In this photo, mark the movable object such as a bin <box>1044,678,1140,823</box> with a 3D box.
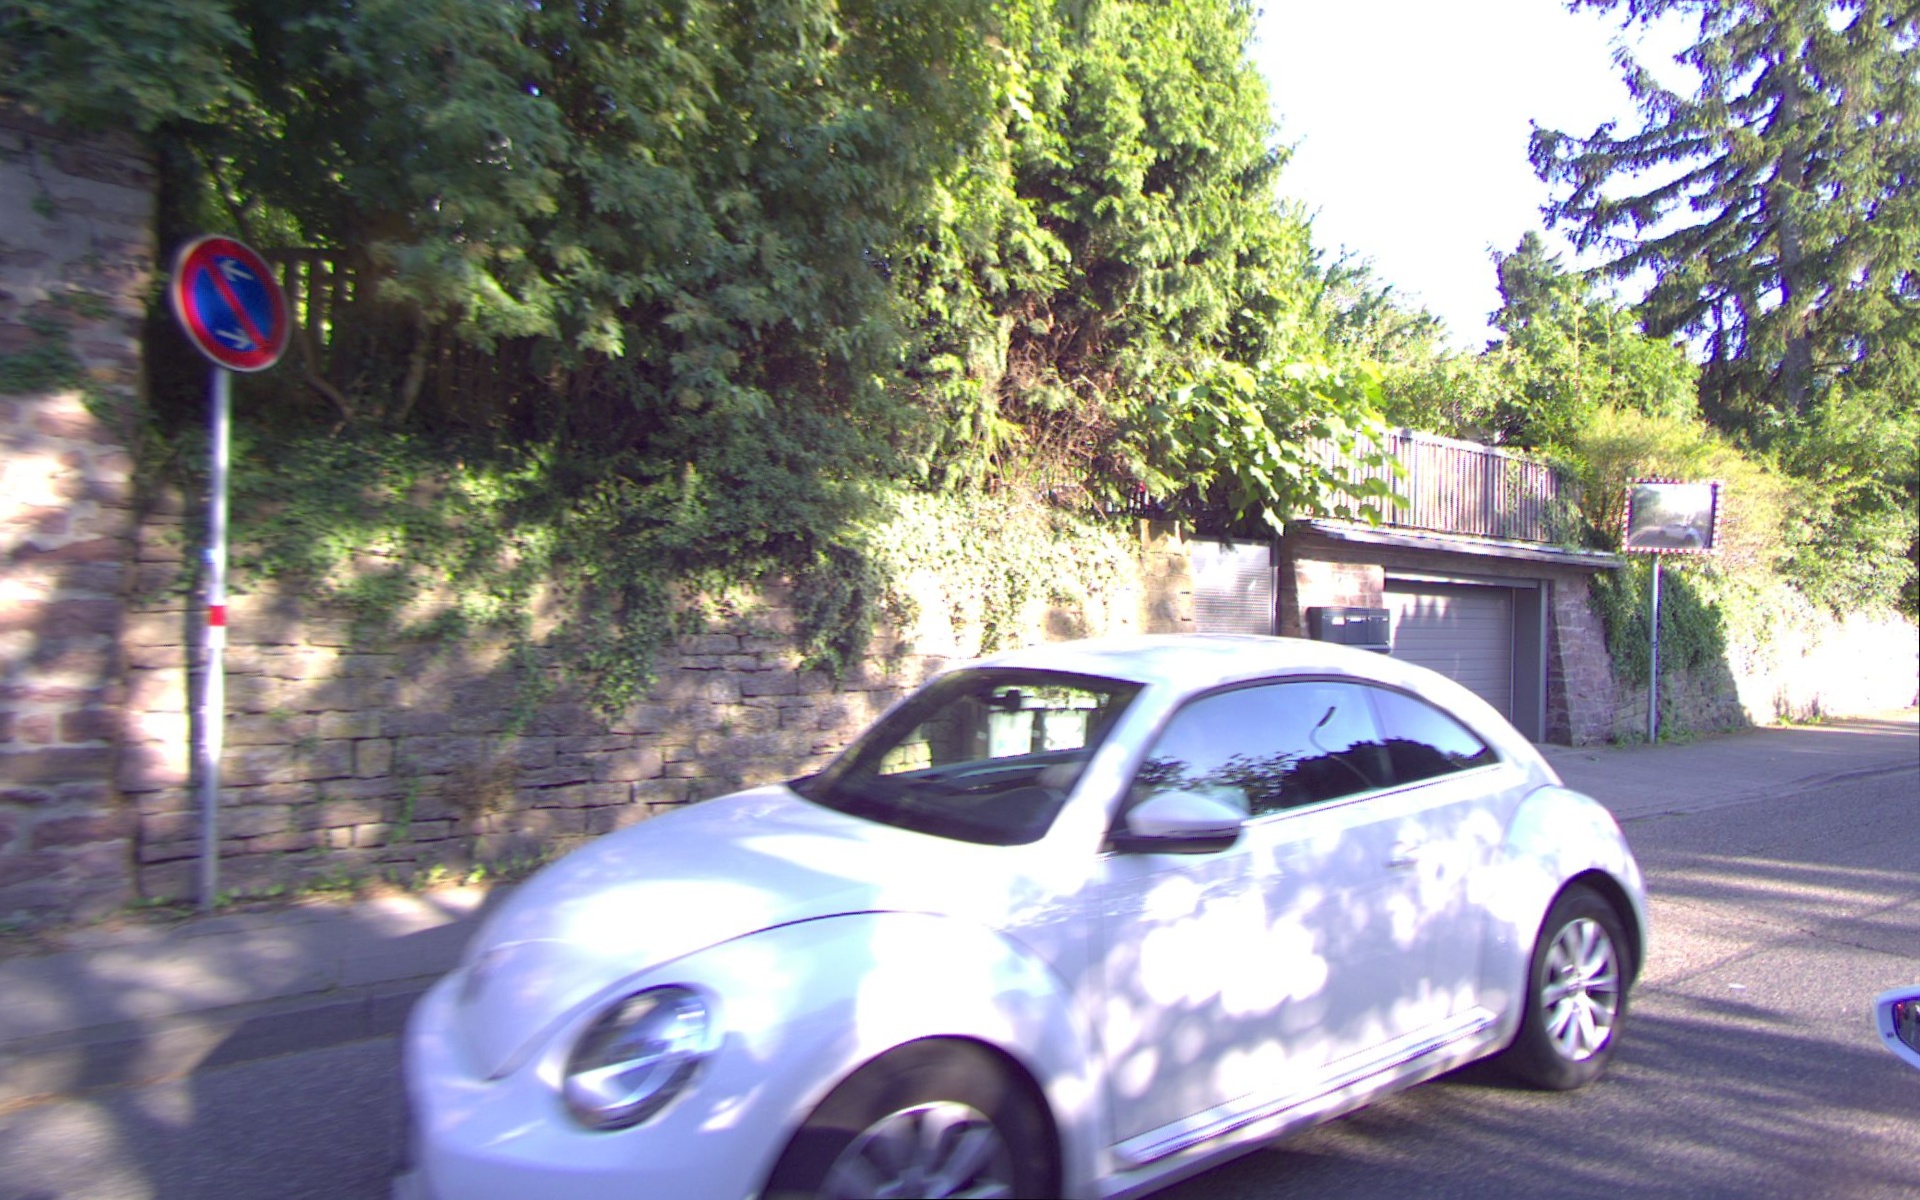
[{"bbox_3d":[0.992,1.109,7.592,0.434,0.998,0.570,2,0,-33],"label":"movable object such as a bin"}]

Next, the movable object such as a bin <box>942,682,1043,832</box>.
[{"bbox_3d":[0.219,1.077,7.060,0.434,0.950,0.580,2,0,-33],"label":"movable object such as a bin"}]

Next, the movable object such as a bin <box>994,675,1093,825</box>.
[{"bbox_3d":[0.602,1.064,7.304,0.434,0.998,0.570,2,0,-33],"label":"movable object such as a bin"}]

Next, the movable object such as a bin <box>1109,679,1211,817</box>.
[{"bbox_3d":[1.550,1.124,7.798,0.577,0.977,0.487,1,0,-33],"label":"movable object such as a bin"}]

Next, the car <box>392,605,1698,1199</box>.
[{"bbox_3d":[0.440,0.832,3.265,3.953,1.494,1.733,2,-3,-30],"label":"car"}]
